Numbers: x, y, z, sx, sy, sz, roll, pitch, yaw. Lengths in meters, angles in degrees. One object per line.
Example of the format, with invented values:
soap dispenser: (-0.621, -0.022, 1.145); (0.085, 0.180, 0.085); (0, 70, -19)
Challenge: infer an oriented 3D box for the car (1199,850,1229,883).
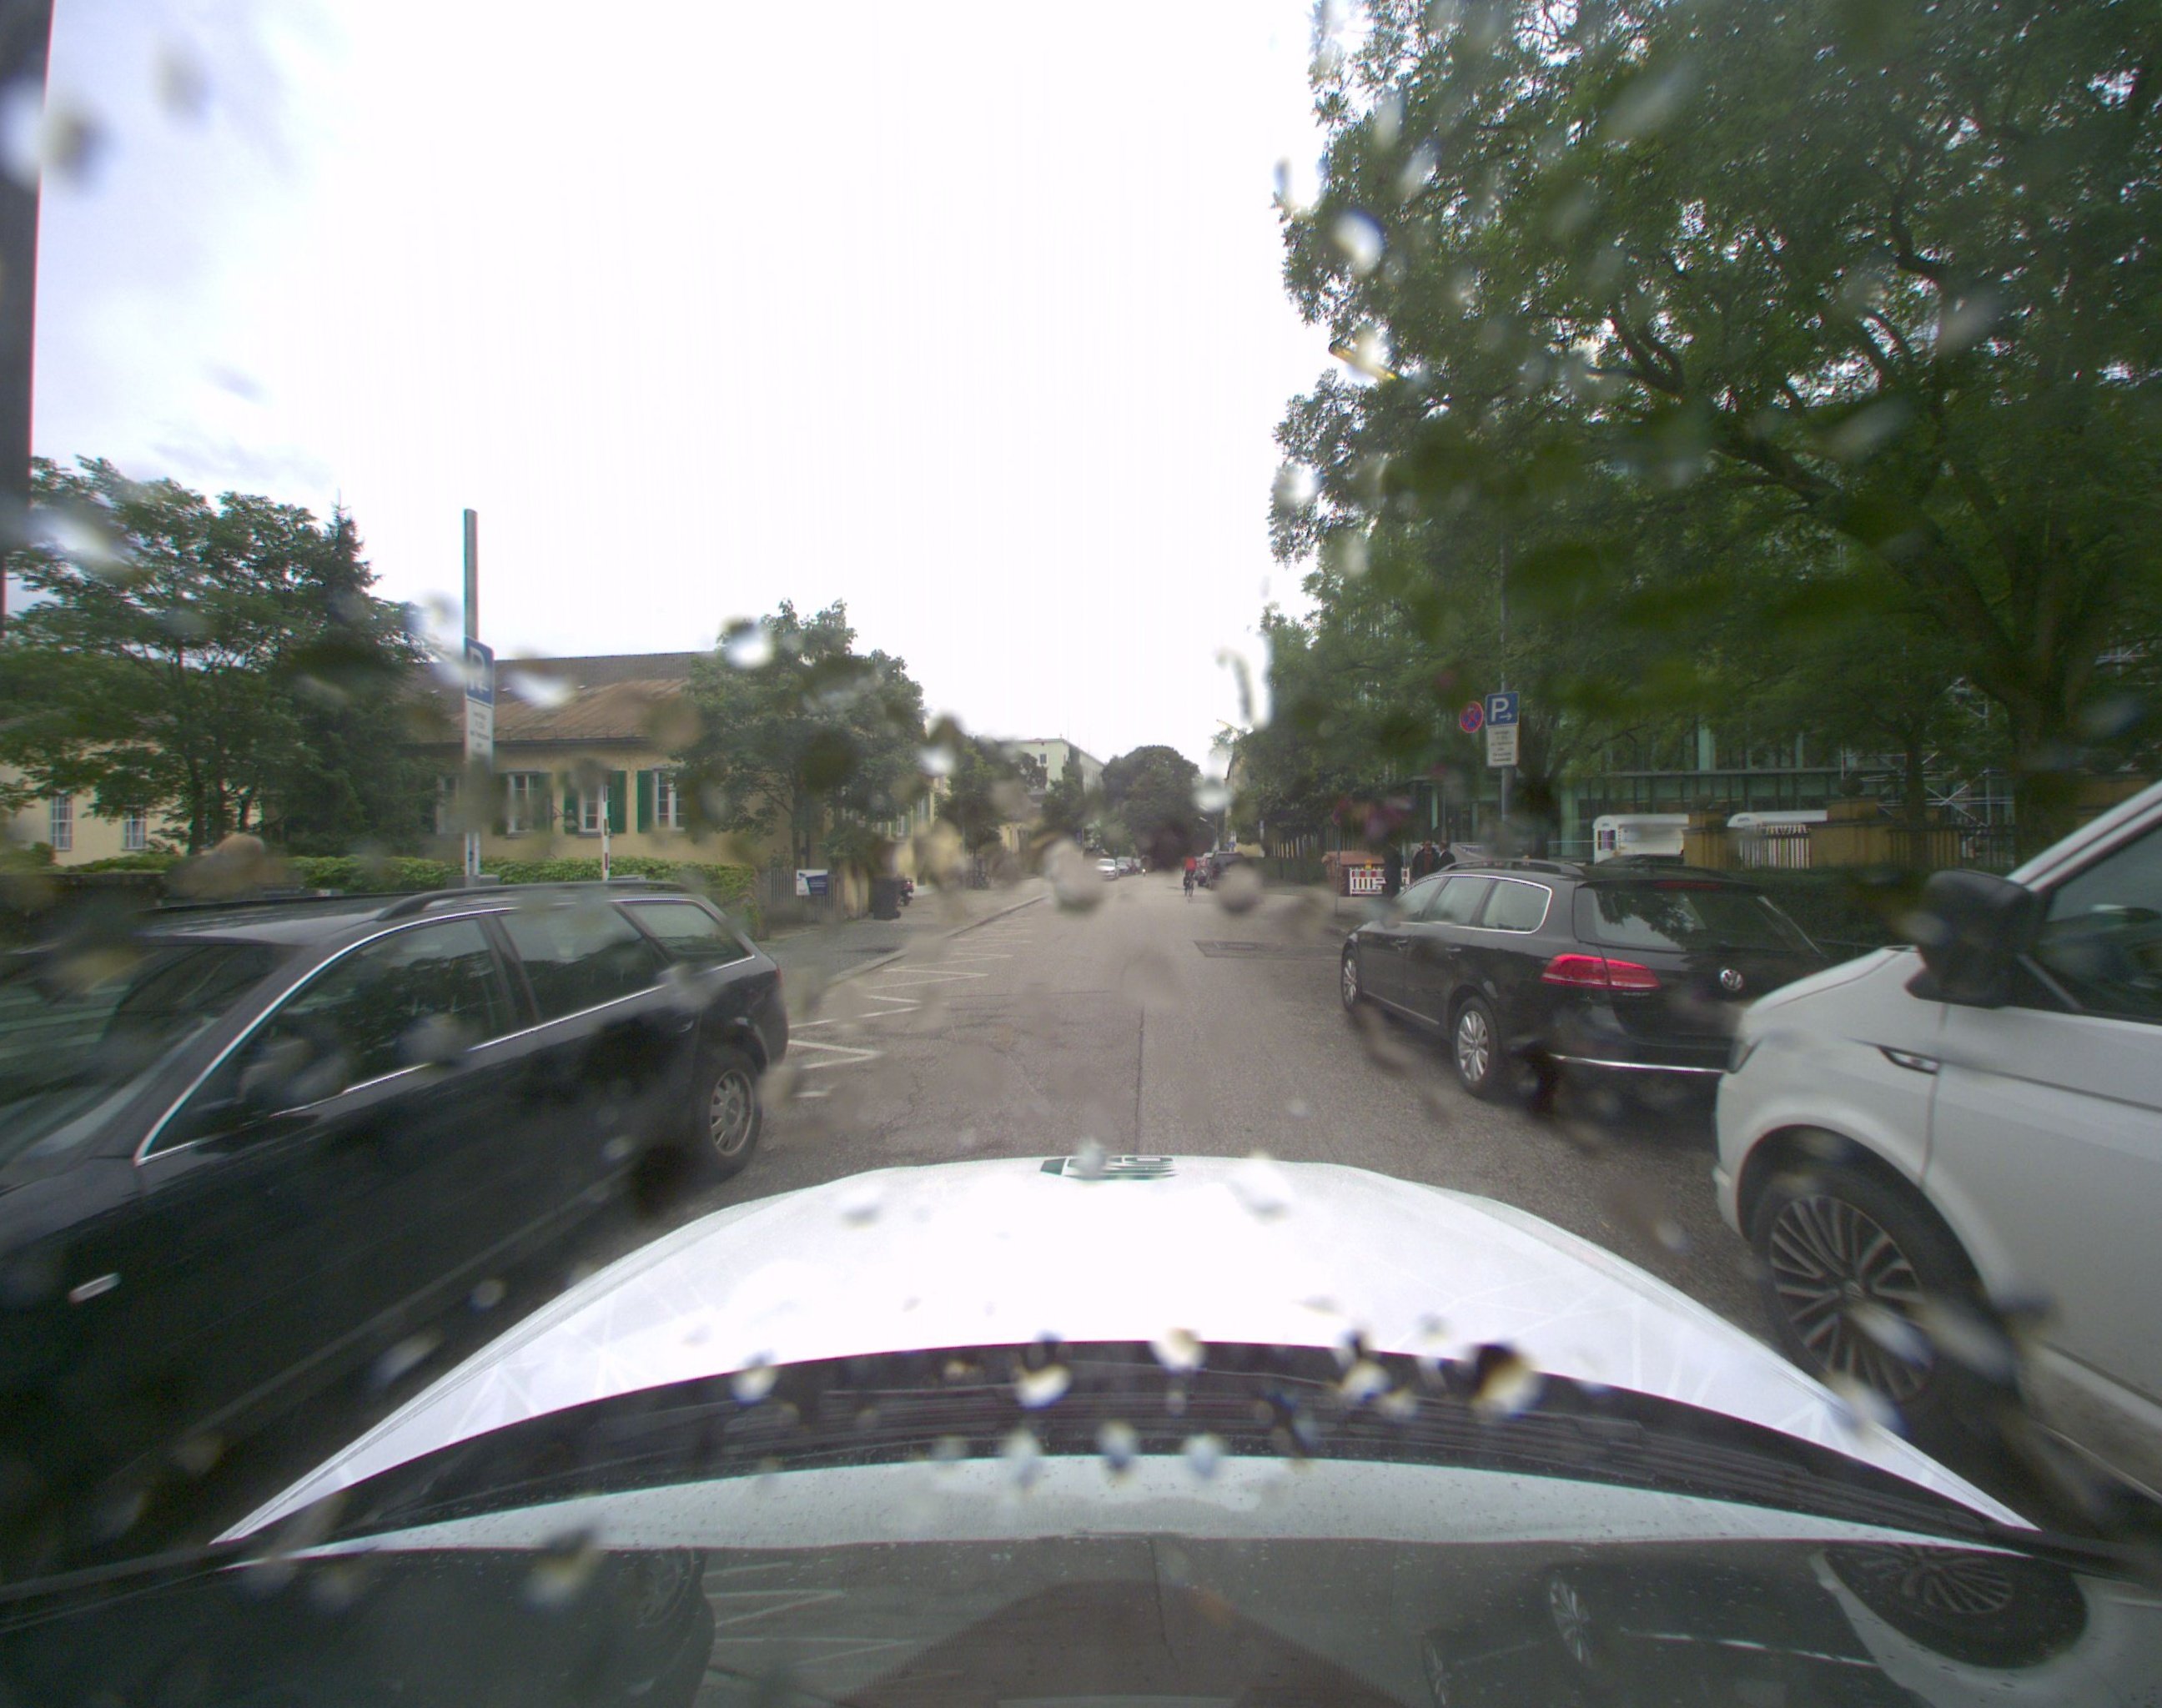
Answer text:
car: (8.182, 0.730, 50.300); (1.740, 1.943, 4.237); (-1, 0, 8)

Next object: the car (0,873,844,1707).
car: (-2.759, 0.883, 2.855); (1.984, 1.491, 4.890); (-2, -1, 5)

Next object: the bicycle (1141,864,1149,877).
bicycle: (5.372, 1.388, 68.160); (0.619, 1.004, 2.142); (-1, 0, 4)

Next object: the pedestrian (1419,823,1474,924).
pedestrian: (7.997, 0.422, 17.884); (0.739, 2.135, 1.057); (-1, -1, 4)

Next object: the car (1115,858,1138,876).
car: (4.282, 1.207, 76.496); (1.983, 1.603, 4.006); (0, -1, 6)

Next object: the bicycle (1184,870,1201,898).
bicycle: (4.231, 1.130, 30.977); (0.618, 1.004, 2.144); (-1, -2, 7)

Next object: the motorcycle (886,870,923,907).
motorcycle: (-5.600, 1.068, 25.758); (0.560, 1.101, 1.820); (1, 0, -32)

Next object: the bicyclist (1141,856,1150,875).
bicyclist: (5.402, 0.938, 68.242); (0.740, 1.576, 0.978); (-1, 0, 5)

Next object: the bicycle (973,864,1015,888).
bicycle: (-4.215, 1.069, 39.633); (1.920, 1.099, 0.616); (2, 0, 7)

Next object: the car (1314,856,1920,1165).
car: (3.423, 0.793, 6.611); (1.764, 1.490, 4.976); (2, 0, 2)

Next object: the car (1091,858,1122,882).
car: (1.868, 1.102, 58.673); (1.724, 1.581, 3.795); (3, 0, 8)

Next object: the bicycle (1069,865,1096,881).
bicycle: (0.097, 1.244, 54.270); (0.615, 1.004, 2.153); (2, 0, 38)

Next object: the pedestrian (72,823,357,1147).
pedestrian: (-5.164, 0.708, 4.945); (0.753, 1.749, 0.949); (0, -1, -12)

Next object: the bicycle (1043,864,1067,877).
bicycle: (-1.857, 1.178, 58.686); (1.619, 0.926, 0.647); (0, -2, -20)

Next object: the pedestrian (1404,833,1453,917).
pedestrian: (8.168, 0.487, 19.123); (0.735, 1.907, 1.062); (-2, -1, 40)

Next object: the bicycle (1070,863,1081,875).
bicycle: (-0.485, 1.313, 70.610); (0.617, 1.004, 1.623); (0, -2, 10)

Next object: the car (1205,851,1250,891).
car: (7.019, 0.767, 39.311); (1.752, 1.823, 4.144); (0, 0, 5)

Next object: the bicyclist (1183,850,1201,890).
bicyclist: (4.229, 0.615, 31.011); (0.668, 1.498, 1.097); (-1, -2, 7)

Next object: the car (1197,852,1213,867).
car: (17.182, 0.726, 112.794); (1.984, 2.060, 4.630); (0, 0, 5)

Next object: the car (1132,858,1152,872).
car: (7.099, 1.280, 93.955); (1.982, 1.486, 4.010); (-1, 0, 9)

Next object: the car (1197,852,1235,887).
car: (7.248, 0.789, 44.137); (1.853, 1.794, 4.519); (-1, 0, 7)

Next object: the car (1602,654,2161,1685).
car: (2.913, 0.613, 0.644); (1.837, 1.933, 5.277); (2, 0, 3)

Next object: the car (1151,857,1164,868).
car: (11.735, 1.318, 125.085); (1.801, 1.683, 4.008); (-1, 0, 7)

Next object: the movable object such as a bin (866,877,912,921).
movable object such as a bin: (-4.867, 1.135, 20.686); (0.931, 1.063, 0.841); (0, 0, 2)

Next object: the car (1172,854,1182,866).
car: (19.190, 1.189, 162.390); (1.983, 2.098, 4.008); (2, 0, 7)

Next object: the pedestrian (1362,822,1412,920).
pedestrian: (6.906, 0.385, 18.400); (0.739, 2.135, 1.057); (-1, -1, 4)

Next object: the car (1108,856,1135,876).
car: (3.536, 1.042, 71.192); (1.983, 1.648, 4.665); (0, 0, 7)

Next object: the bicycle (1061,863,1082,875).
bicycle: (-0.746, 1.210, 65.257); (1.623, 1.004, 0.618); (0, -2, -29)
